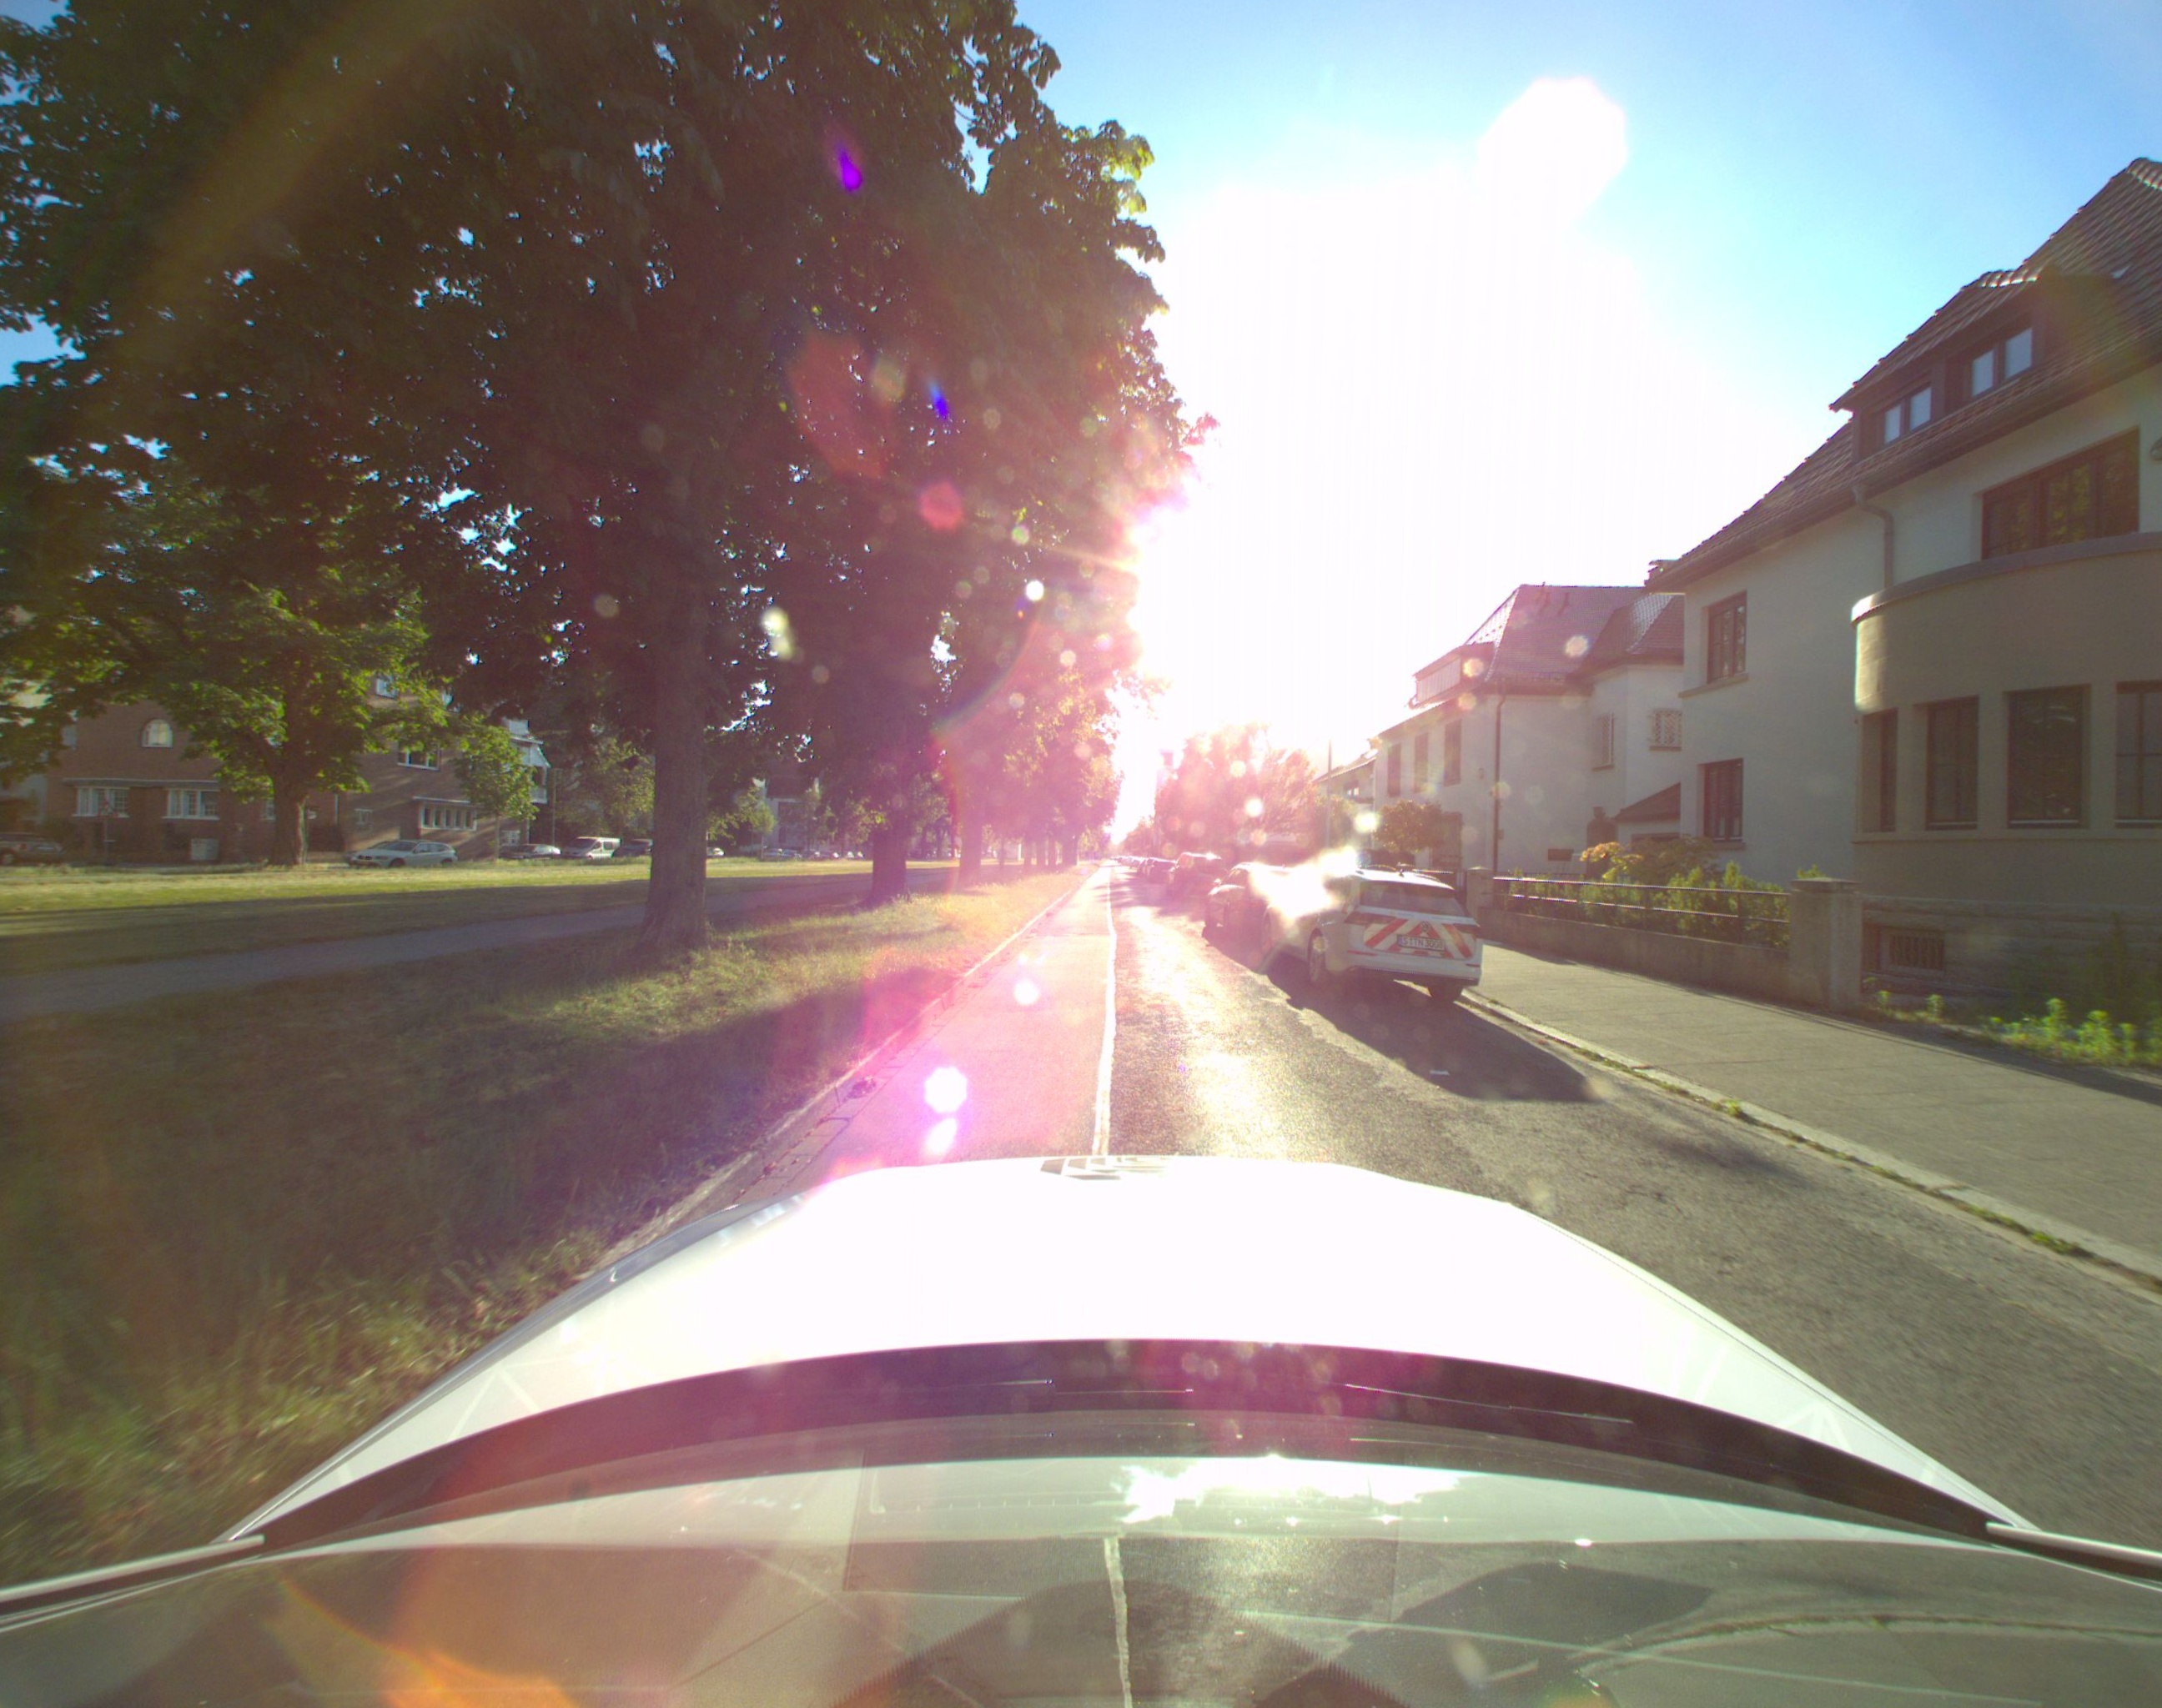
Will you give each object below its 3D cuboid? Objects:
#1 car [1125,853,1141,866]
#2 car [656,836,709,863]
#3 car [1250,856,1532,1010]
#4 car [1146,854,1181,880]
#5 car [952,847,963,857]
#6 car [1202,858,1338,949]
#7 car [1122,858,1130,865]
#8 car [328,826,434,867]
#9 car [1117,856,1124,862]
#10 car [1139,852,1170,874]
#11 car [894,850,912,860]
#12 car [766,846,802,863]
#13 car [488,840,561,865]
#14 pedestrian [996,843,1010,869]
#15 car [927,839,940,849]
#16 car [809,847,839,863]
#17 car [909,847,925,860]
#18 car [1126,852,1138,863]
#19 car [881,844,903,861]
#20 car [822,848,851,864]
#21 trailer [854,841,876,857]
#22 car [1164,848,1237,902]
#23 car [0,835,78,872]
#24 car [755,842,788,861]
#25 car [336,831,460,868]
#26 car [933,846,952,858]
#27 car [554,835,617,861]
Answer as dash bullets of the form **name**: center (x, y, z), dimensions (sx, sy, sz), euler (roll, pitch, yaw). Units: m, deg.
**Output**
- **car**: center (6.572, 0.689, 103.181), dimensions (1.750, 1.420, 4.075), euler (7, 0, 3)
- **car**: center (-31.563, -0.358, 64.642), dimensions (1.986, 2.013, 4.002), euler (2, 0, 2)
- **car**: center (3.796, 0.857, 10.997), dimensions (1.987, 1.464, 4.549), euler (5, 0, 0)
- **car**: center (5.044, 0.799, 50.468), dimensions (1.786, 1.492, 4.676), euler (2, 0, 2)
- **car**: center (-31.781, -0.463, 209.162), dimensions (1.985, 2.409, 4.366), euler (-1, -1, 2)
- **car**: center (3.675, 0.892, 16.690), dimensions (1.773, 1.463, 4.596), euler (4, 0, 2)
- **car**: center (10.730, 1.827, 193.974), dimensions (1.985, 1.629, 4.003), euler (1, 0, 3)
- **car**: center (-37.377, -0.373, 43.644), dimensions (1.749, 2.013, 4.371), euler (1, 0, 3)
- **car**: center (11.149, 1.461, 228.353), dimensions (1.972, 1.683, 4.003), euler (1, 0, 3)
- **car**: center (5.457, 0.665, 60.946), dimensions (1.687, 1.483, 3.926), euler (5, 0, -2)
- **car**: center (-28.696, 0.112, 131.135), dimensions (1.678, 1.559, 4.317), euler (1, 0, 3)
- **car**: center (-30.829, 0.050, 84.706), dimensions (1.984, 1.684, 4.005), euler (1, 0, 4)
- **car**: center (-37.709, -0.093, 55.322), dimensions (1.749, 1.623, 4.308), euler (1, 0, 3)
- **pedestrian**: center (-5.362, 0.104, 55.797), dimensions (0.720, 1.758, 0.995), euler (1, 0, 8)
- **car**: center (-33.376, -2.179, 184.907), dimensions (1.986, 2.014, 4.486), euler (-2, -2, 2)
- **car**: center (-30.357, 0.132, 96.373), dimensions (1.985, 1.721, 4.259), euler (1, 0, 3)
- **car**: center (-28.448, -0.089, 141.215), dimensions (1.678, 2.175, 4.318), euler (1, 0, 3)
- **car**: center (7.912, 0.488, 126.243), dimensions (1.752, 1.605, 4.359), euler (1, 0, 1)
- **car**: center (-34.121, -0.275, 147.331), dimensions (2.428, 2.922, 5.821), euler (-1, -1, 2)
- **car**: center (-30.607, 0.286, 102.036), dimensions (1.985, 1.860, 4.259), euler (1, 0, 3)
- **trailer**: center (-34.678, -0.795, 130.803), dimensions (1.985, 2.428, 4.727), euler (1, 0, 3)
- **car**: center (4.402, 0.727, 30.775), dimensions (1.987, 1.737, 4.864), euler (4, 0, 1)
- **car**: center (-45.966, -0.050, 34.799), dimensions (3.971, 1.486, 1.866), euler (1, 0, 2)
- **car**: center (-35.805, -0.271, 94.341), dimensions (2.023, 2.014, 4.003), euler (-1, -1, 3)
- **car**: center (-32.316, -0.203, 38.750), dimensions (1.812, 1.639, 4.652), euler (1, 0, 2)
- **car**: center (-27.215, -0.372, 160.093), dimensions (2.524, 2.236, 5.462), euler (0, 1, 2)
- **car**: center (-37.018, -0.422, 60.945), dimensions (1.809, 1.838, 4.411), euler (1, 0, 3)
